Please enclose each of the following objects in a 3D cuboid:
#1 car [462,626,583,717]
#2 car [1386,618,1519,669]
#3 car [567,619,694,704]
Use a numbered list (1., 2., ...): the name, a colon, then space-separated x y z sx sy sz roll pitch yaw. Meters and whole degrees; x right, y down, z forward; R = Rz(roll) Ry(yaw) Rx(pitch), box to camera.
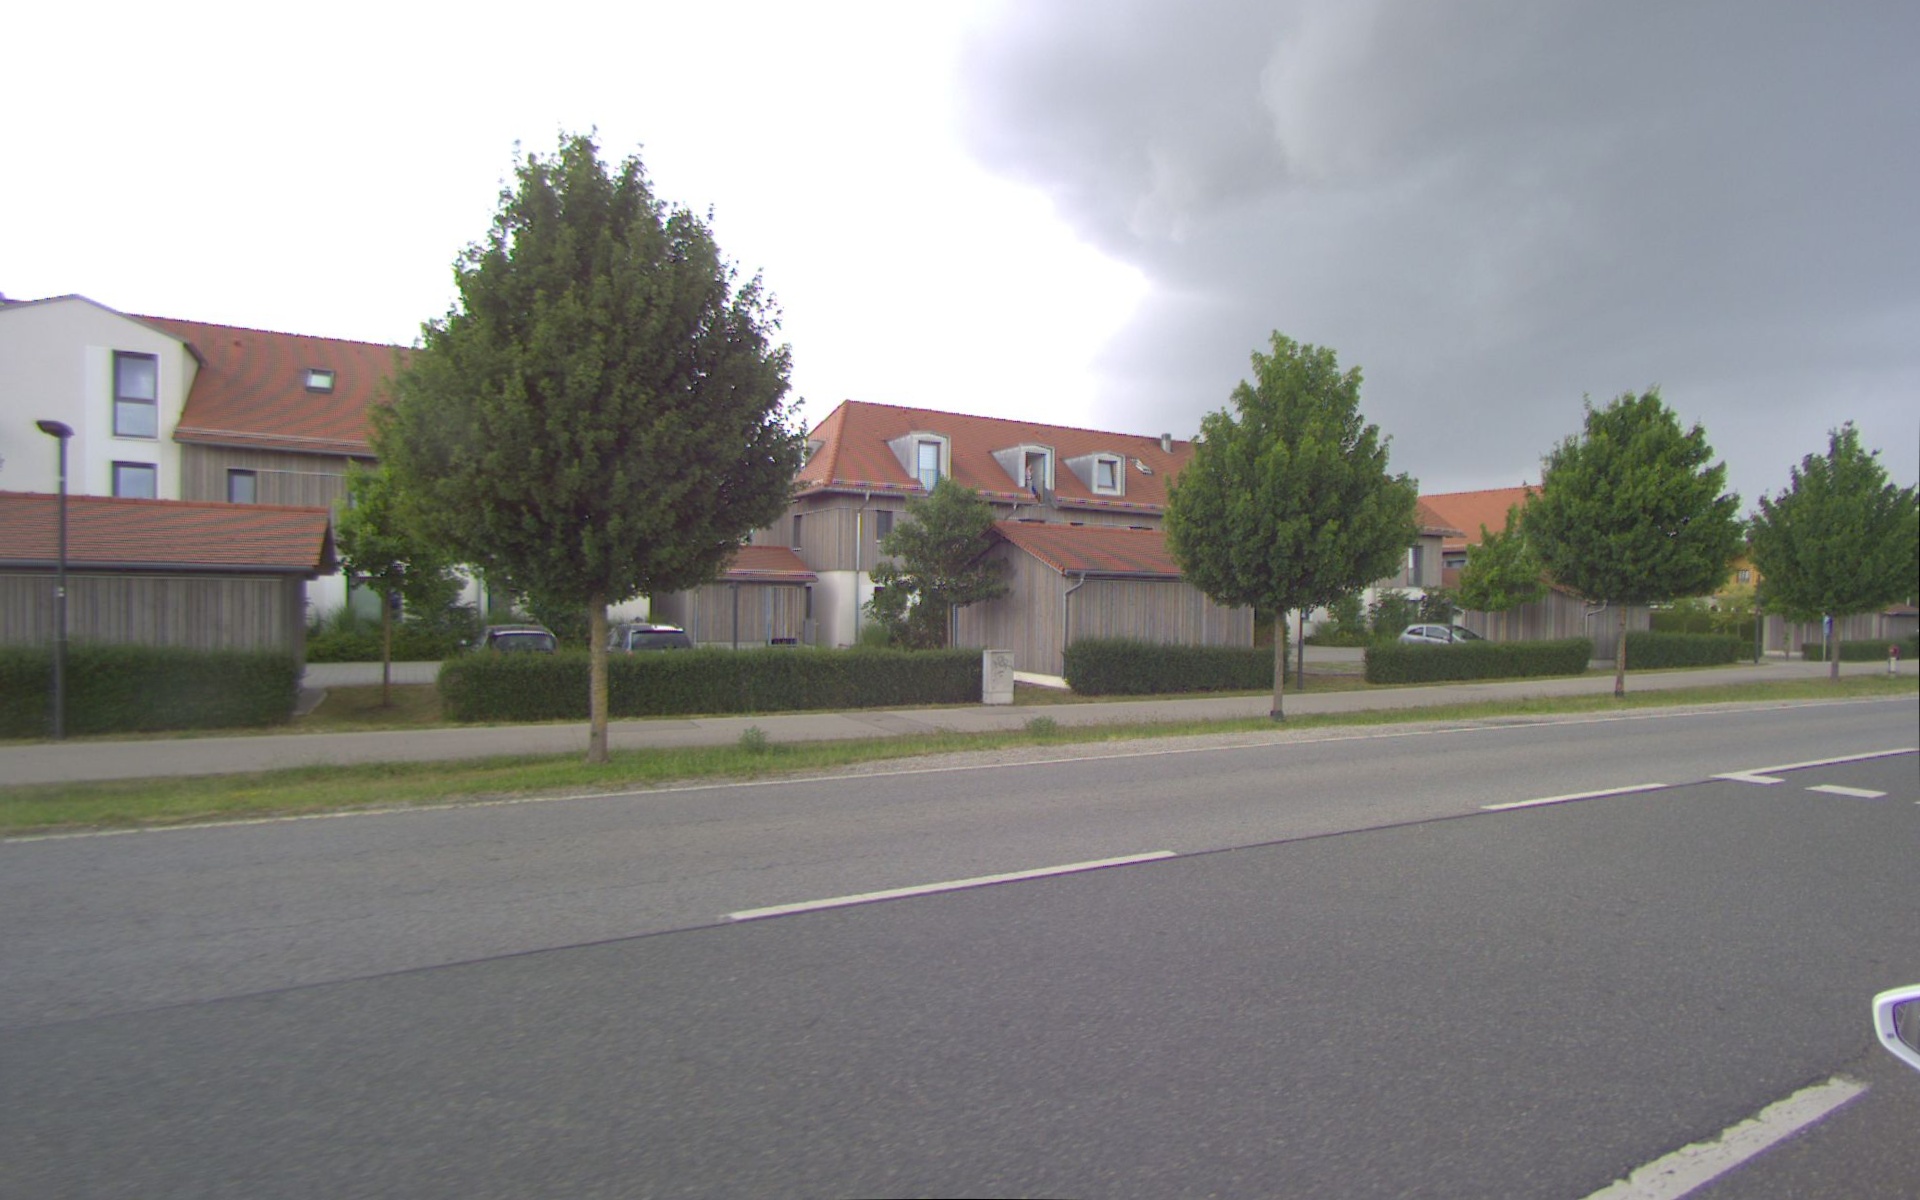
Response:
1. car: -9.023 1.369 20.541 1.975 1.639 3.971 1 -1 -28
2. car: 18.050 1.540 36.973 1.975 1.577 3.970 1 2 -28
3. car: -7.228 1.247 21.809 1.975 1.639 3.971 1 -1 -28
